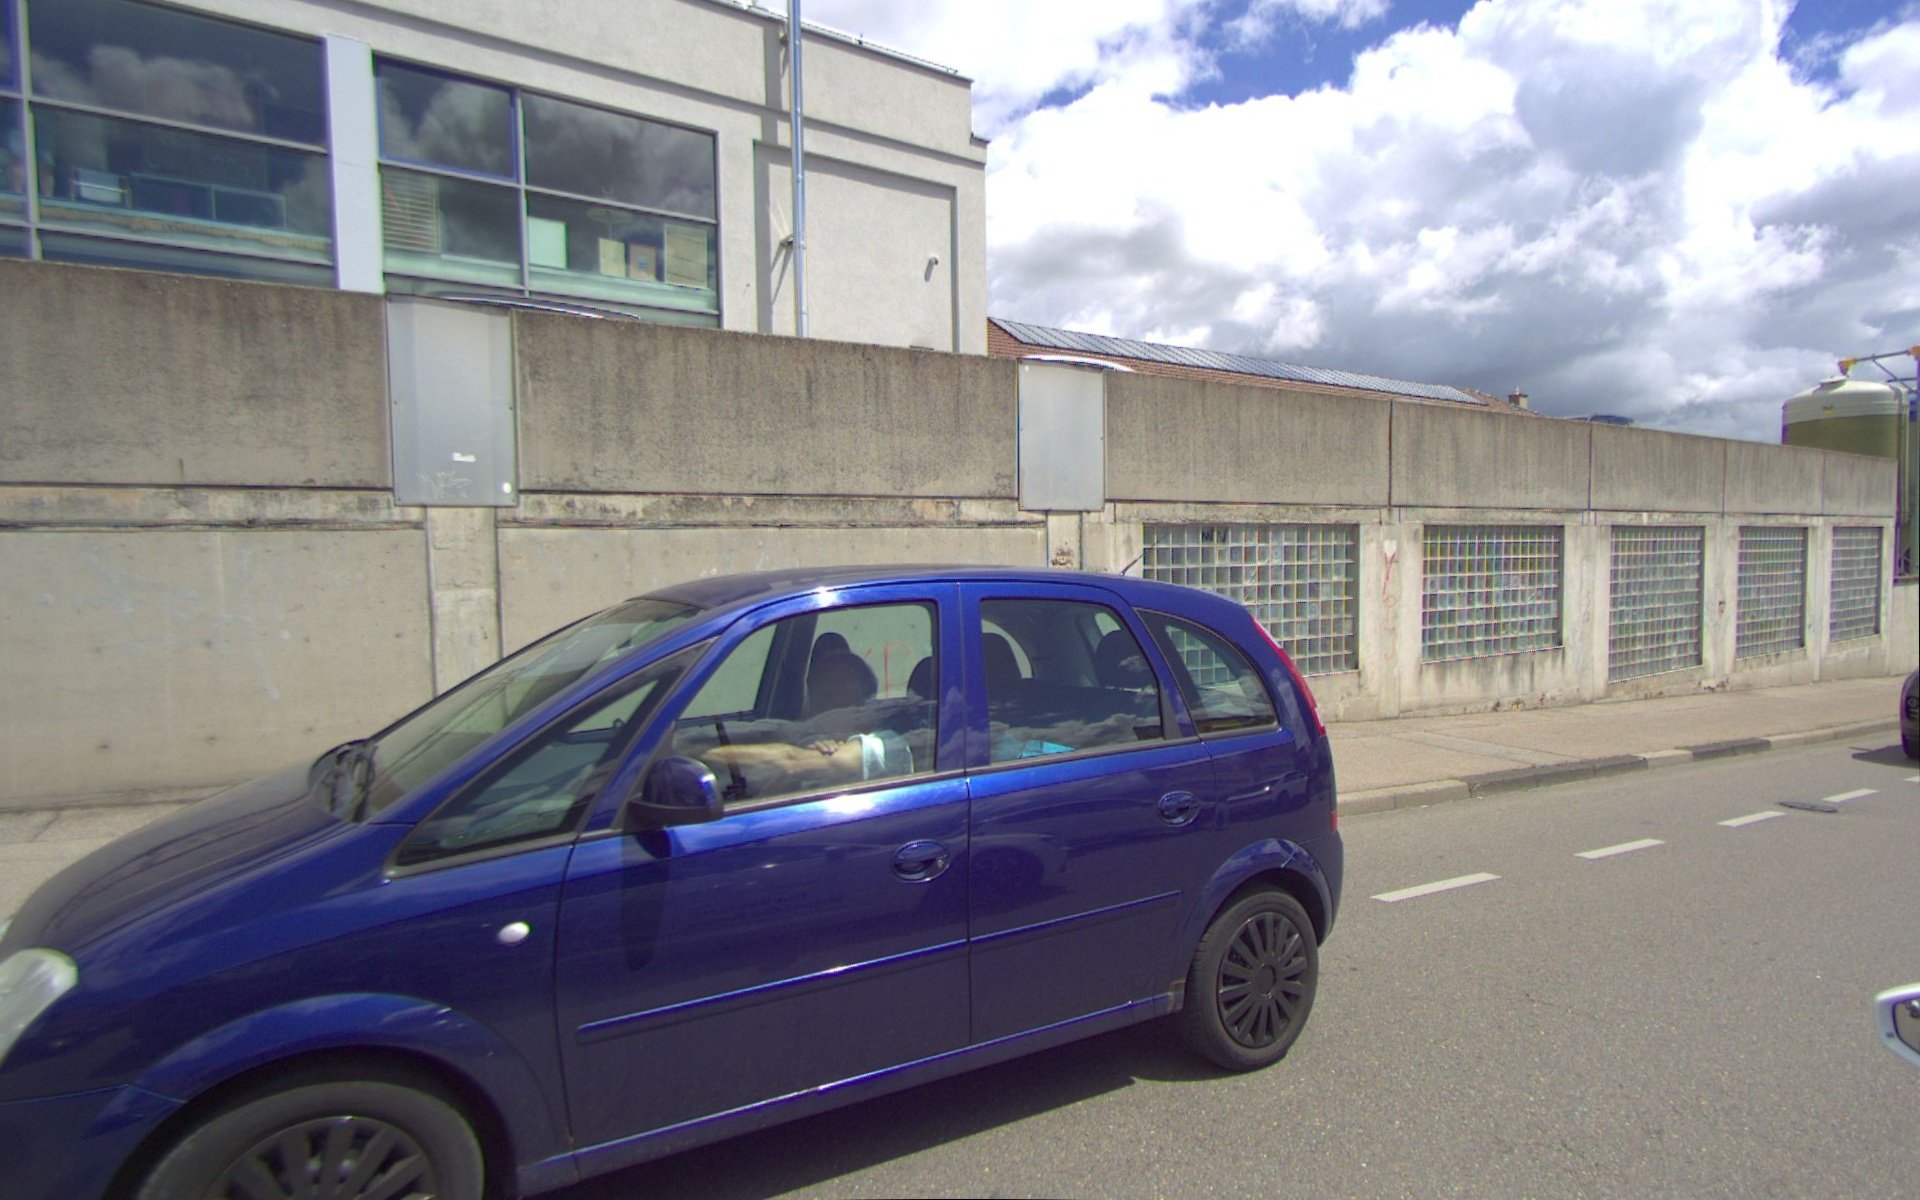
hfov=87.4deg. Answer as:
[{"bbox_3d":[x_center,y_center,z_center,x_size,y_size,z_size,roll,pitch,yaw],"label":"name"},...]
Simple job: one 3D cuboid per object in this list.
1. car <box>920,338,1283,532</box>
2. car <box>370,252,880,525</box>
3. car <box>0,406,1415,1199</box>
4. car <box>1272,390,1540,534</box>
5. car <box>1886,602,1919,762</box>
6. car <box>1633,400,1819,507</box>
[{"bbox_3d":[1.734,-1.773,11.905,4.060,1.658,1.795,1,1,-33],"label":"car"},{"bbox_3d":[-2.957,-1.660,9.114,4.060,1.658,1.795,1,1,-33],"label":"car"},{"bbox_3d":[-0.434,0.639,3.262,3.736,1.841,1.618,1,0,-30],"label":"car"},{"bbox_3d":[6.863,-1.980,15.367,4.060,1.658,1.795,1,1,-33],"label":"car"},{"bbox_3d":[11.918,0.881,10.932,4.049,1.644,1.789,1,0,-34],"label":"car"},{"bbox_3d":[16.097,-2.971,21.061,4.060,1.658,1.795,1,1,-33],"label":"car"}]
